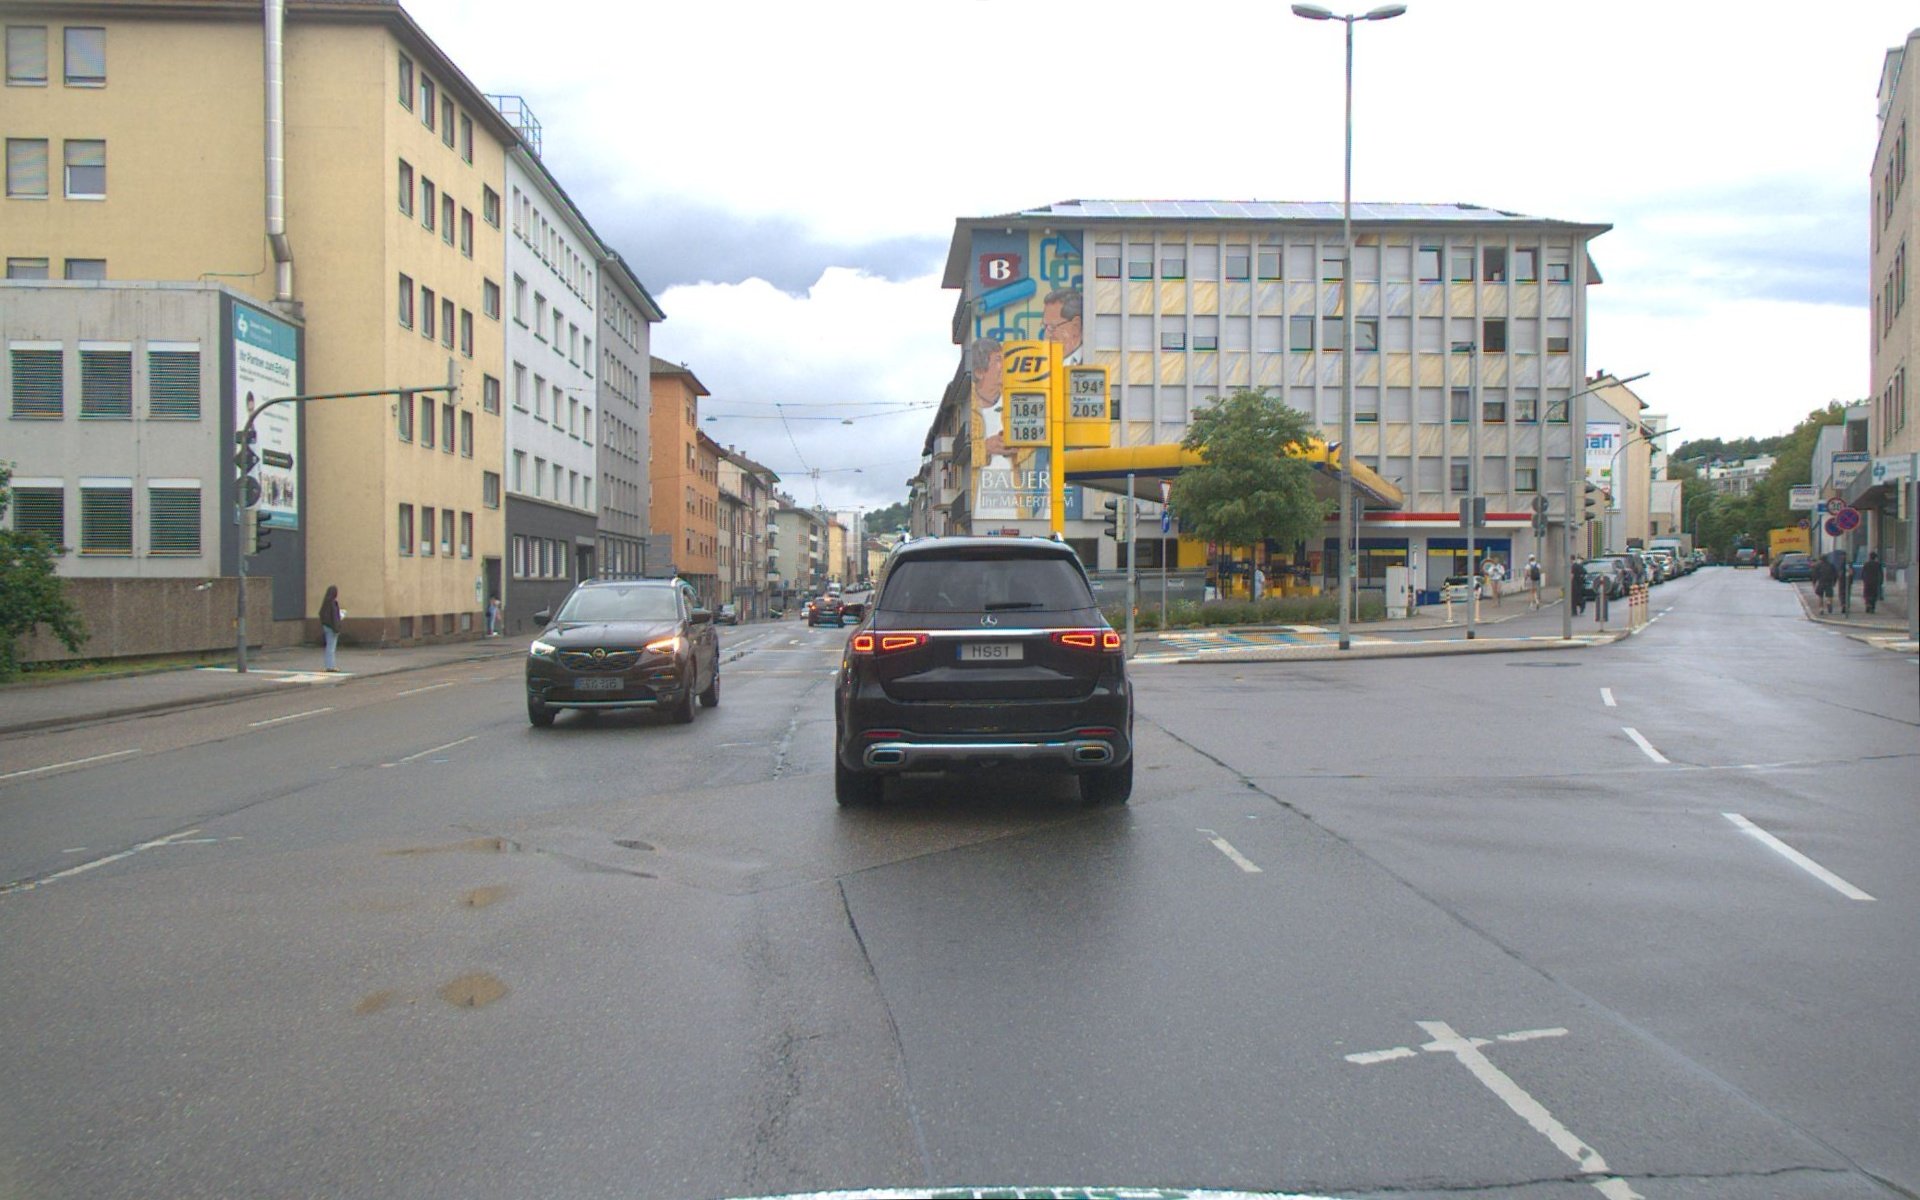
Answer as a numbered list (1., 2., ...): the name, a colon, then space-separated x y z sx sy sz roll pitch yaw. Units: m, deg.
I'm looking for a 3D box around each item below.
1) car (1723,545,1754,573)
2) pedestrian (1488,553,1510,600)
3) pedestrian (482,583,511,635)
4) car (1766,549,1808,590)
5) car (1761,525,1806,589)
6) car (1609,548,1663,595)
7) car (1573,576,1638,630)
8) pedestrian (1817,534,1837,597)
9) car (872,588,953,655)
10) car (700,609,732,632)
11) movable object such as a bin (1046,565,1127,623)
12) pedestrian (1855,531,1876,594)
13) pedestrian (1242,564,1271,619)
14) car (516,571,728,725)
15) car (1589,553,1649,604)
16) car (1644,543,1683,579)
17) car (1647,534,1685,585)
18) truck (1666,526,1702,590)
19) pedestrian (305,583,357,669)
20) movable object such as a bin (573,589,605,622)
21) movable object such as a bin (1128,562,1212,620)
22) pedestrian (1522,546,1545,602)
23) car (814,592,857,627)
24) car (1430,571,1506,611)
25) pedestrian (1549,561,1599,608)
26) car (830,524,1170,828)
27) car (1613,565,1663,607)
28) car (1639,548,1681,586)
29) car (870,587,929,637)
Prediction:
1. car: 60.926 -3.175 129.419 1.955 2.049 3.995 1 0 27
2. pedestrian: 18.067 -0.776 55.406 0.570 1.541 0.472 2 -1 -44
3. pedestrian: -15.438 0.304 55.074 0.703 1.719 0.811 2 0 -2
4. car: 44.840 -1.656 89.635 1.955 2.049 3.995 1 0 27
5. car: 51.082 -2.612 102.657 2.330 3.752 4.989 1 0 26
6. car: 29.969 -1.225 73.211 1.954 1.897 4.576 2 0 25
7. car: 24.460 0.139 62.622 1.954 1.897 4.576 2 0 25
8. pedestrian: 24.958 -0.992 47.625 0.469 1.773 0.574 1 0 27
9. car: -1.335 0.550 44.940 2.035 1.678 4.292 2 0 -3
10. car: -17.065 1.444 115.888 1.854 1.484 4.544 2 0 -5
11. movable object such as a bin: 3.588 -0.173 47.201 2.112 1.602 1.772 -1 0 -3
12. pedestrian: 25.754 -1.069 47.030 0.469 1.773 0.574 1 0 27
13. pedestrian: 8.837 -0.257 49.313 0.651 1.613 0.846 2 0 -1
14. car: -3.864 0.495 19.577 1.771 1.622 4.293 0 0 -2
15. car: 26.839 -0.850 67.281 1.954 1.897 4.576 2 0 25
16. car: 41.293 -2.259 97.035 1.954 1.897 4.576 2 0 25
17. car: 44.450 -2.541 104.068 1.954 3.025 4.576 1 0 25
18. truck: 48.324 -2.761 110.311 1.954 3.982 5.481 1 0 25
19. pedestrian: -12.746 0.520 33.546 0.703 1.719 0.811 2 0 -2
20. movable object such as a bin: -15.626 0.218 69.683 1.055 1.347 1.190 2 0 -3
21. movable object such as a bin: 6.009 -0.259 47.496 2.112 1.582 1.772 -1 0 -3
22. pedestrian: 18.653 -0.828 53.764 0.663 1.788 0.732 1 0 20
23. car: -6.238 0.458 83.447 2.035 1.678 4.292 2 0 -3
24. car: 21.842 -0.366 71.020 1.958 1.542 4.405 -2 -2 33
25. pedestrian: 18.411 -0.472 49.619 0.910 1.376 1.096 2 0 -44
26. car: 0.119 0.459 12.381 2.035 1.796 4.608 2 0 -3
27. car: 32.379 -0.651 78.951 1.954 1.897 4.576 2 0 25
28. car: 38.835 -1.810 91.754 1.954 1.897 4.576 2 0 25
29. car: -2.259 0.419 60.408 2.035 1.678 4.292 2 0 -3
